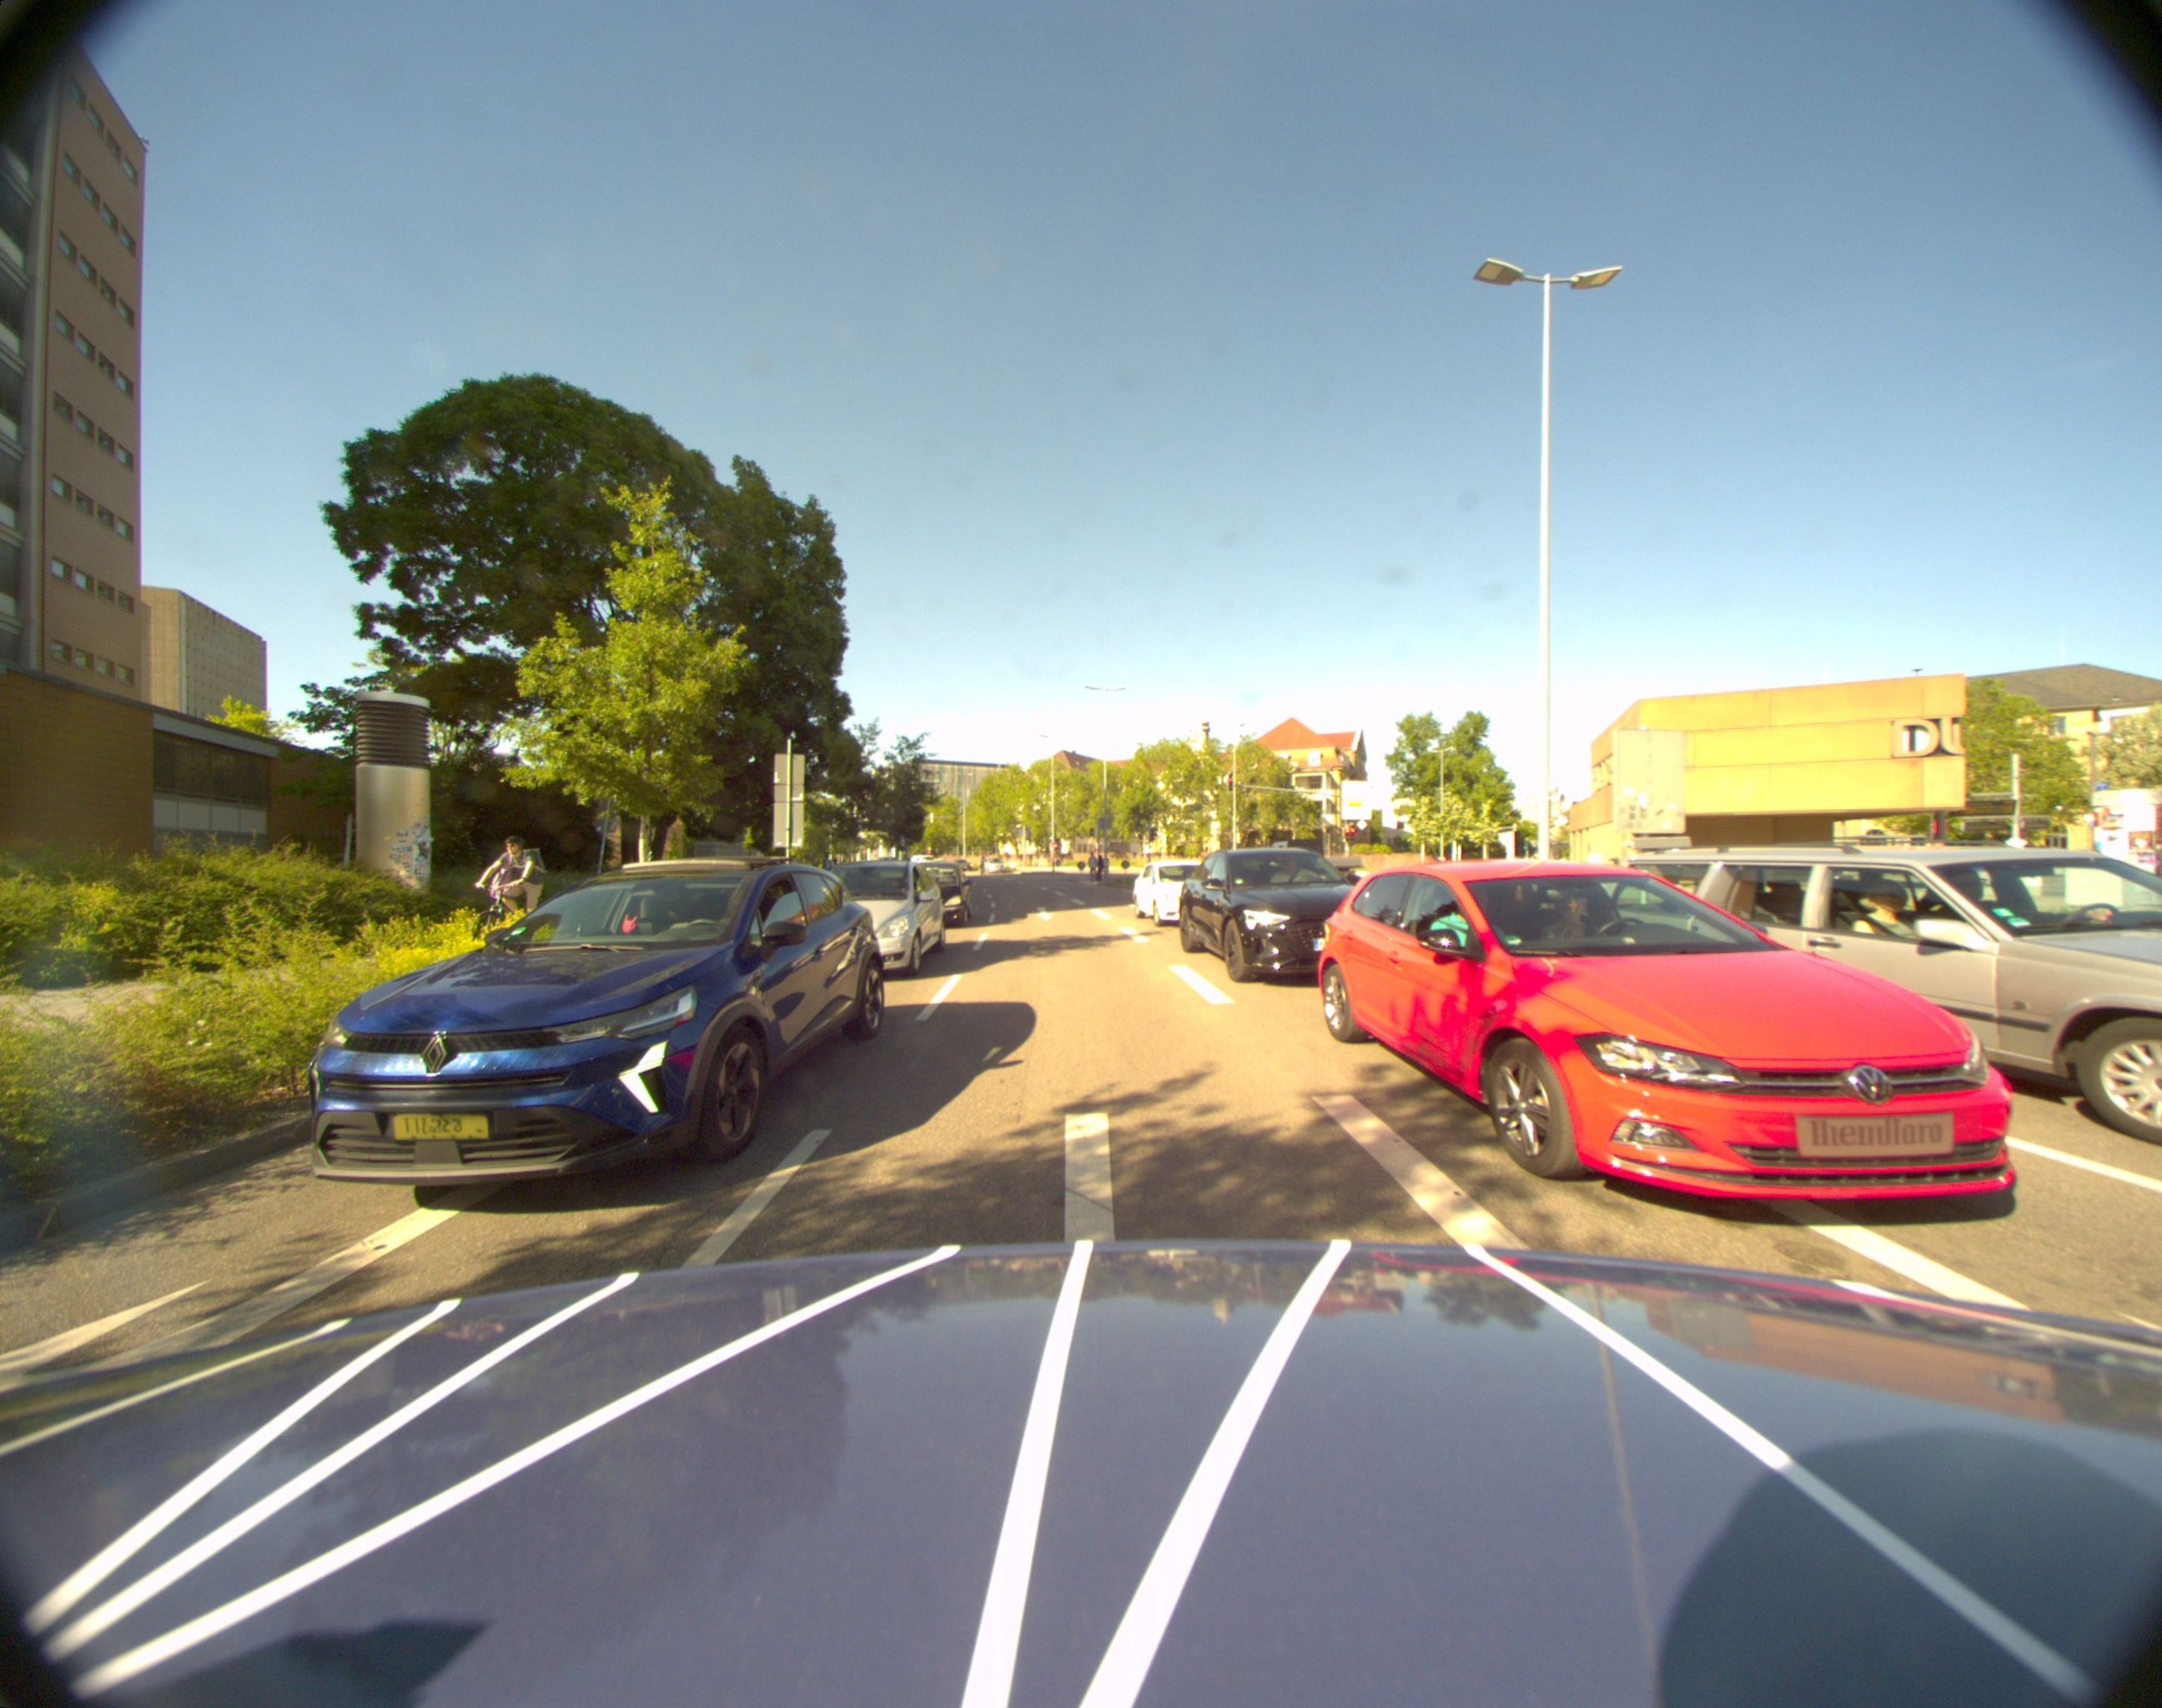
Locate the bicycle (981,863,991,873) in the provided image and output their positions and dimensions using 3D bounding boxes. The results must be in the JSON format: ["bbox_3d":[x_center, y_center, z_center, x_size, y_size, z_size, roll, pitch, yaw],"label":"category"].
[{"bbox_3d":[-8.661,1.250,69.078,0.591,0.884,1.652,-2,0,-18],"label":"bicycle"}]

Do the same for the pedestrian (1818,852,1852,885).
[{"bbox_3d":[30.179,0.570,30.411,0.645,1.303,0.763,-1,0,10],"label":"pedestrian"}]

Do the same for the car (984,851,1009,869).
[{"bbox_3d":[-8.476,0.632,75.877,1.527,1.669,3.374,-2,0,-24],"label":"car"}]

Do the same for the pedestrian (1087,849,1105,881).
[{"bbox_3d":[0.897,0.627,44.510,0.887,1.814,0.776,-2,1,-7],"label":"pedestrian"}]

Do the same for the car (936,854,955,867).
[{"bbox_3d":[-17.447,0.883,97.655,1.598,1.596,3.066,-1,0,-26],"label":"car"}]

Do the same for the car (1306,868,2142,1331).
[{"bbox_3d":[2.787,0.875,4.530,1.674,1.464,3.853,-2,0,-1],"label":"car"}]

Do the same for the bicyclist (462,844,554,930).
[{"bbox_3d":[-8.886,0.493,11.821,0.722,1.271,0.907,2,0,-3],"label":"bicyclist"}]

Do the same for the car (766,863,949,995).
[{"bbox_3d":[-3.155,0.962,11.589,1.786,1.615,4.042,0,0,-3],"label":"car"}]

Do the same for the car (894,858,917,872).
[{"bbox_3d":[-18.620,1.156,80.561,1.754,1.467,3.567,-2,1,-23],"label":"car"}]

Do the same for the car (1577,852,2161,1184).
[{"bbox_3d":[5.761,0.772,4.984,1.713,1.464,4.752,-3,-1,-2],"label":"car"}]

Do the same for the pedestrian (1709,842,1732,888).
[{"bbox_3d":[24.652,0.421,29.294,0.644,1.766,0.618,0,1,42],"label":"pedestrian"}]

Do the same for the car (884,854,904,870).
[{"bbox_3d":[-21.400,0.902,86.863,1.830,1.842,3.745,0,0,-21],"label":"car"}]

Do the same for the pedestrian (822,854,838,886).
[{"bbox_3d":[-12.645,0.802,38.315,0.693,1.594,0.661,0,0,-14],"label":"pedestrian"}]

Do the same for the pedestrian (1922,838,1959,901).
[{"bbox_3d":[25.125,0.447,22.212,0.647,1.778,0.666,-3,1,-38],"label":"pedestrian"}]

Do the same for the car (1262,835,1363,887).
[{"bbox_3d":[11.109,0.302,37.053,2.117,2.300,6.209,-1,0,-10],"label":"car"}]

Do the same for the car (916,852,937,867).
[{"bbox_3d":[-21.476,0.793,105.193,1.790,2.002,4.223,-2,1,-26],"label":"car"}]

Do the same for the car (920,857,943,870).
[{"bbox_3d":[-16.290,0.979,82.700,1.754,1.370,3.568,-1,0,-21],"label":"car"}]

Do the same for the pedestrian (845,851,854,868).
[{"bbox_3d":[-26.868,0.668,88.154,0.823,1.906,0.770,-2,1,-29],"label":"pedestrian"}]

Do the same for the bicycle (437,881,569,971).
[{"bbox_3d":[-8.900,1.060,11.808,0.692,1.211,1.834,2,0,-3],"label":"bicycle"}]

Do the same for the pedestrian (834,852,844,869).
[{"bbox_3d":[-28.032,0.710,87.970,0.823,1.906,0.770,-2,1,-29],"label":"pedestrian"}]

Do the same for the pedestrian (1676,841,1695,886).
[{"bbox_3d":[24.079,0.358,30.271,0.467,1.766,0.647,0,1,29],"label":"pedestrian"}]

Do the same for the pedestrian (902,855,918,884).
[{"bbox_3d":[-9.397,0.828,41.813,0.694,1.594,0.660,-1,0,-32],"label":"pedestrian"}]

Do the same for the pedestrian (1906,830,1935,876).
[{"bbox_3d":[32.936,-0.038,29.807,0.645,1.766,0.468,-1,1,-4],"label":"pedestrian"}]

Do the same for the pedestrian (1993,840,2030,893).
[{"bbox_3d":[31.414,0.407,25.647,0.644,1.766,0.469,0,1,21],"label":"pedestrian"}]

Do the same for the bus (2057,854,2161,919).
[{"bbox_3d":[21.673,0.632,14.083,1.646,1.234,4.181,-1,0,-5],"label":"bus"}]

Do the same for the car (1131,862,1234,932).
[{"bbox_3d":[2.261,0.922,17.842,1.575,1.410,3.711,-1,0,-6],"label":"car"}]

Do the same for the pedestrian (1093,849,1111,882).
[{"bbox_3d":[1.192,0.641,43.215,0.757,1.814,0.775,-2,1,-18],"label":"pedestrian"}]

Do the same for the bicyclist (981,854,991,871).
[{"bbox_3d":[-8.603,0.784,68.989,0.696,1.549,0.815,-2,1,-18],"label":"bicyclist"}]

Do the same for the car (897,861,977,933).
[{"bbox_3d":[-3.506,0.989,18.956,1.651,1.601,3.488,0,0,-6],"label":"car"}]

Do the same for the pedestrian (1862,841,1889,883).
[{"bbox_3d":[33.218,0.329,31.783,0.645,1.766,0.468,-1,1,-4],"label":"pedestrian"}]

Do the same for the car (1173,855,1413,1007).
[{"bbox_3d":[2.565,0.832,10.410,1.859,1.606,4.452,0,0,-3],"label":"car"}]

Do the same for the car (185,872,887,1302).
[{"bbox_3d":[-2.685,0.979,5.067,1.705,1.596,4.084,-1,0,0],"label":"car"}]

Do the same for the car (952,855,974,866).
[{"bbox_3d":[-13.786,0.774,88.455,1.587,1.197,3.994,-2,-2,-23],"label":"car"}]
